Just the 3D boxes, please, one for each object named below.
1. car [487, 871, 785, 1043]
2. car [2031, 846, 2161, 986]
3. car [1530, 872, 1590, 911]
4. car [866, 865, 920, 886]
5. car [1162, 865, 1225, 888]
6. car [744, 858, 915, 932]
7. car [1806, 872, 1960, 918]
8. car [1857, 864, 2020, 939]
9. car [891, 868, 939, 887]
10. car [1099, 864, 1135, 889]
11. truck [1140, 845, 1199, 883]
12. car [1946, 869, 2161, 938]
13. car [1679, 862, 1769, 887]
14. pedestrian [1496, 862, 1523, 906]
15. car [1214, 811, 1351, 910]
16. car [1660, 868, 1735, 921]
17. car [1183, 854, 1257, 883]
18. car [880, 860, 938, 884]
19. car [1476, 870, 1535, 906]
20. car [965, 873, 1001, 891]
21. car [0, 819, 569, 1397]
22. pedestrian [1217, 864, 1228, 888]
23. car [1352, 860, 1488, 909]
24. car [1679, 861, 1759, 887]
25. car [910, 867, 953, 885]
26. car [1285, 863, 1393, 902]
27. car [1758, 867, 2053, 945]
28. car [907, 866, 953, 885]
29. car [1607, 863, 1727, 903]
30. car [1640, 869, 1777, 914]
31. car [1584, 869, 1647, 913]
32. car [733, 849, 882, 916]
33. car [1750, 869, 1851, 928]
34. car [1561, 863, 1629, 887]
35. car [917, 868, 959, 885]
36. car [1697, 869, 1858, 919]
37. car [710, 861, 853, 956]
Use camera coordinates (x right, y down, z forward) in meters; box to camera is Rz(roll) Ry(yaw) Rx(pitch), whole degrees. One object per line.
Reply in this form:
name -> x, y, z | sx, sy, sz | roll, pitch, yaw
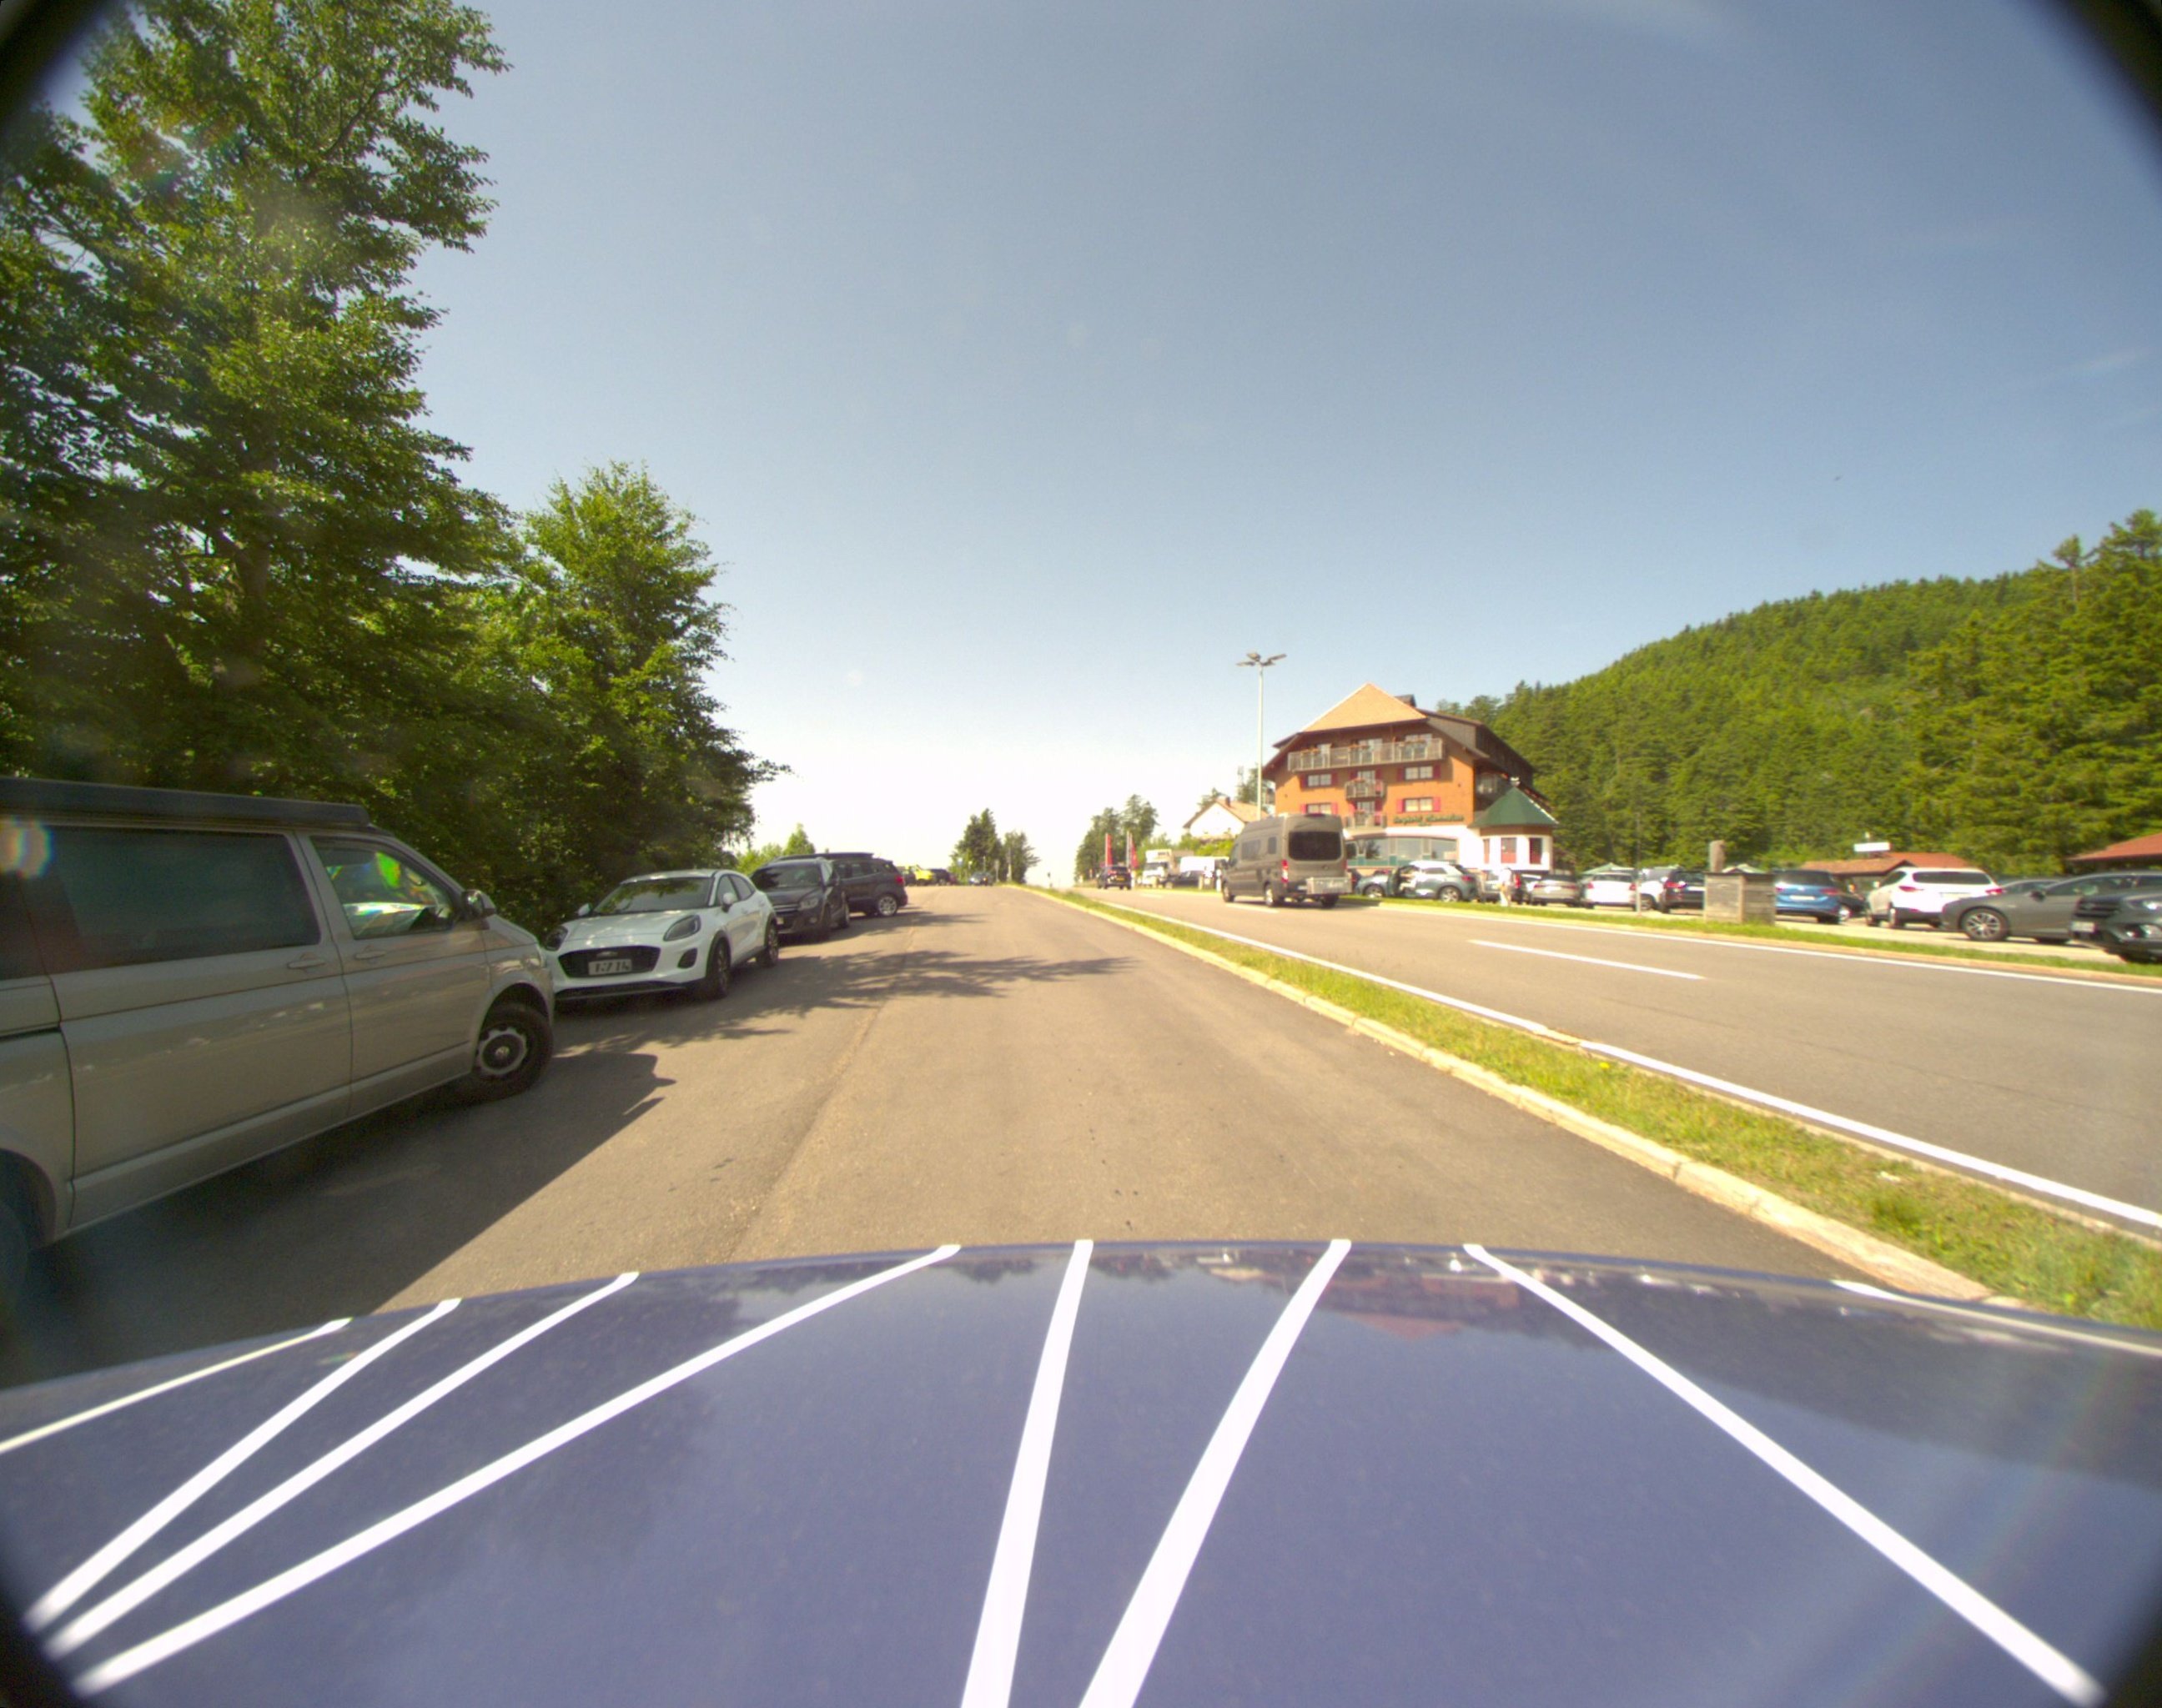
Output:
car -> -5.253, 1.072, 9.679 | 1.876, 1.538, 3.997 | -3, 0, -9
car -> 14.756, 0.754, 8.685 | 4.539, 1.646, 1.726 | 1, 0, 33
car -> 20.461, 1.546, 32.396 | 1.819, 1.504, 4.104 | 1, 0, 37
car -> -14.930, 1.710, 60.441 | 3.912, 1.605, 1.875 | 0, 0, -6
car -> 8.006, 1.571, 54.223 | 4.083, 1.518, 1.828 | 1, 0, 30
car -> -6.705, 1.021, 20.292 | 4.005, 1.609, 1.872 | -3, 0, -28
car -> 33.564, 1.663, 31.985 | 4.083, 1.705, 1.924 | 1, 0, 32
car -> 22.219, 1.139, 19.898 | 1.915, 1.705, 4.104 | 1, 0, 35
car -> -14.489, 2.010, 66.498 | 3.912, 1.605, 1.875 | 0, 0, -6
car -> 2.408, 1.522, 52.390 | 1.722, 1.672, 4.127 | 0, 0, -8
truck -> 9.529, 1.099, 80.971 | 2.877, 3.798, 9.035 | -2, -1, 29
car -> 27.248, 1.319, 20.960 | 4.083, 1.705, 1.924 | 1, 0, 32
car -> 46.825, 1.487, 55.462 | 4.832, 1.705, 1.925 | 0, 0, 36
pedestrian -> 15.822, 1.094, 28.068 | 0.744, 1.615, 0.684 | 0, 0, 21
car -> 6.120, 0.208, 23.990 | 2.018, 2.735, 5.913 | 0, 0, -8
car -> 21.080, 1.312, 26.105 | 1.819, 1.619, 4.104 | 1, 0, 37
car -> 13.481, 1.409, 74.088 | 6.954, 2.774, 2.669 | 0, 0, 10
car -> -14.267, 1.499, 63.282 | 4.459, 1.914, 1.875 | 0, 0, -6
car -> 19.648, 1.507, 35.084 | 1.819, 1.504, 4.104 | 1, 0, 37
car -> -9.521, 2.710, 74.080 | 1.872, 1.605, 3.919 | 0, 0, 18
car -> -4.662, 0.904, 3.390 | 1.862, 1.924, 4.607 | -4, 0, -5
pedestrian -> 10.721, 1.652, 57.606 | 0.673, 1.853, 0.751 | 0, 0, -1
car -> 12.358, 1.040, 27.748 | 4.259, 1.619, 1.828 | 1, 0, 34
car -> 43.962, 1.336, 52.487 | 4.083, 1.705, 1.925 | 1, 0, 36
car -> -14.146, 2.076, 72.049 | 3.912, 1.605, 1.875 | 0, 0, -6
car -> 11.560, 1.235, 34.123 | 4.259, 1.619, 1.828 | 1, 0, 34
car -> 17.655, 1.033, 16.552 | 1.724, 1.422, 3.993 | 1, 0, -19
car -> -13.756, 1.954, 69.470 | 3.912, 1.605, 1.875 | 0, 0, -6
car -> 25.773, 1.242, 33.634 | 4.083, 1.619, 1.828 | 1, 0, 34
car -> 25.138, 1.466, 30.646 | 4.083, 1.619, 1.828 | 1, 0, 34
car -> 20.414, 1.364, 28.951 | 1.819, 1.504, 4.104 | 1, 0, 37
car -> -9.285, 0.904, 25.849 | 4.466, 1.914, 1.872 | -3, 0, -28
car -> 22.260, 1.302, 23.666 | 1.819, 1.619, 4.104 | 1, 0, 37
car -> 37.730, 1.520, 55.780 | 4.083, 1.705, 1.925 | 1, 0, 36
car -> -14.297, 2.225, 76.118 | 3.912, 1.605, 1.875 | 0, 0, -6
car -> 25.021, 1.397, 27.517 | 4.083, 1.619, 1.828 | 1, 0, 34
car -> -6.057, 0.996, 15.870 | 1.876, 1.609, 3.997 | -3, 0, -9
